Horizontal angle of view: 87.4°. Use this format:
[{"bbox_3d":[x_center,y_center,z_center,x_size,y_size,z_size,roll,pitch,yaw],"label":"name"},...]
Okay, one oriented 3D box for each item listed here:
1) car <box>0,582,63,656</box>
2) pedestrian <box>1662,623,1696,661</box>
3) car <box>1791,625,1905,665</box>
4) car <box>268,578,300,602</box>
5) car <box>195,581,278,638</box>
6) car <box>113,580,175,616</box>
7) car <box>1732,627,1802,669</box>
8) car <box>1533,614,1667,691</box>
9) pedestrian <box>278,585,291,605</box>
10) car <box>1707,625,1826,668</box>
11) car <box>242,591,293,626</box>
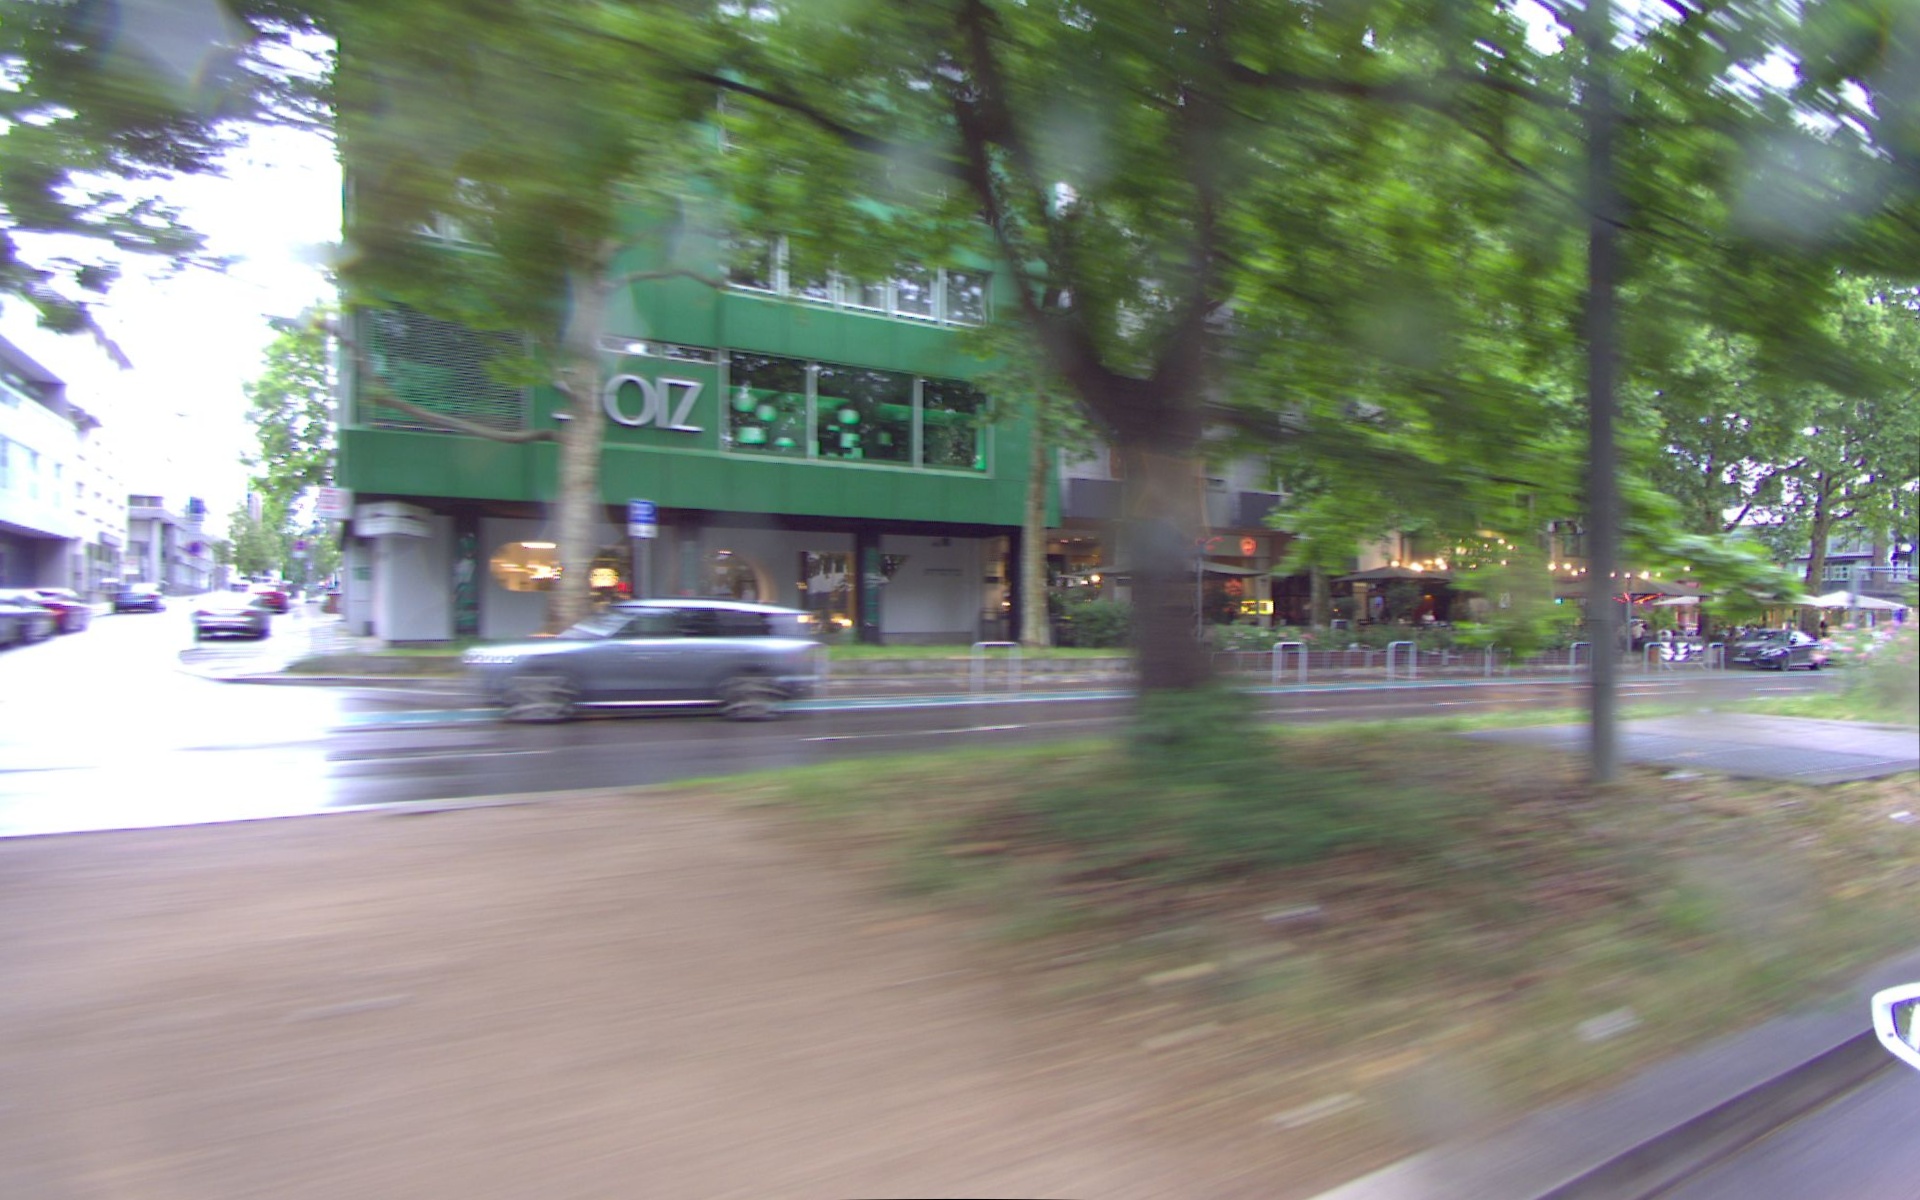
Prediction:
[{"bbox_3d":[-23.698,0.413,24.164,1.975,1.714,4.968,1,-1,-28],"label":"car"},{"bbox_3d":[27.443,1.602,38.348,0.923,1.398,0.759,1,0,-33],"label":"pedestrian"},{"bbox_3d":[34.435,1.709,38.933,4.486,1.388,1.983,1,1,-31],"label":"car"},{"bbox_3d":[-48.170,-0.699,71.637,1.686,1.590,3.823,2,0,-32],"label":"car"},{"bbox_3d":[-23.418,0.294,32.640,1.979,1.706,3.963,1,0,-33],"label":"car"},{"bbox_3d":[-40.315,-0.098,49.715,1.979,1.706,3.963,1,0,-33],"label":"car"},{"bbox_3d":[28.292,1.662,35.212,2.662,1.406,1.045,1,-1,-30],"label":"car"},{"bbox_3d":[15.420,1.192,24.111,4.410,1.648,1.703,1,0,-44],"label":"car"},{"bbox_3d":[-54.186,-0.390,80.599,0.549,1.636,0.565,2,0,13],"label":"pedestrian"},{"bbox_3d":[28.487,1.623,35.455,4.431,1.413,1.816,1,-1,-31],"label":"car"},{"bbox_3d":[-35.224,0.418,51.171,1.979,1.706,3.963,1,0,-33],"label":"car"}]
